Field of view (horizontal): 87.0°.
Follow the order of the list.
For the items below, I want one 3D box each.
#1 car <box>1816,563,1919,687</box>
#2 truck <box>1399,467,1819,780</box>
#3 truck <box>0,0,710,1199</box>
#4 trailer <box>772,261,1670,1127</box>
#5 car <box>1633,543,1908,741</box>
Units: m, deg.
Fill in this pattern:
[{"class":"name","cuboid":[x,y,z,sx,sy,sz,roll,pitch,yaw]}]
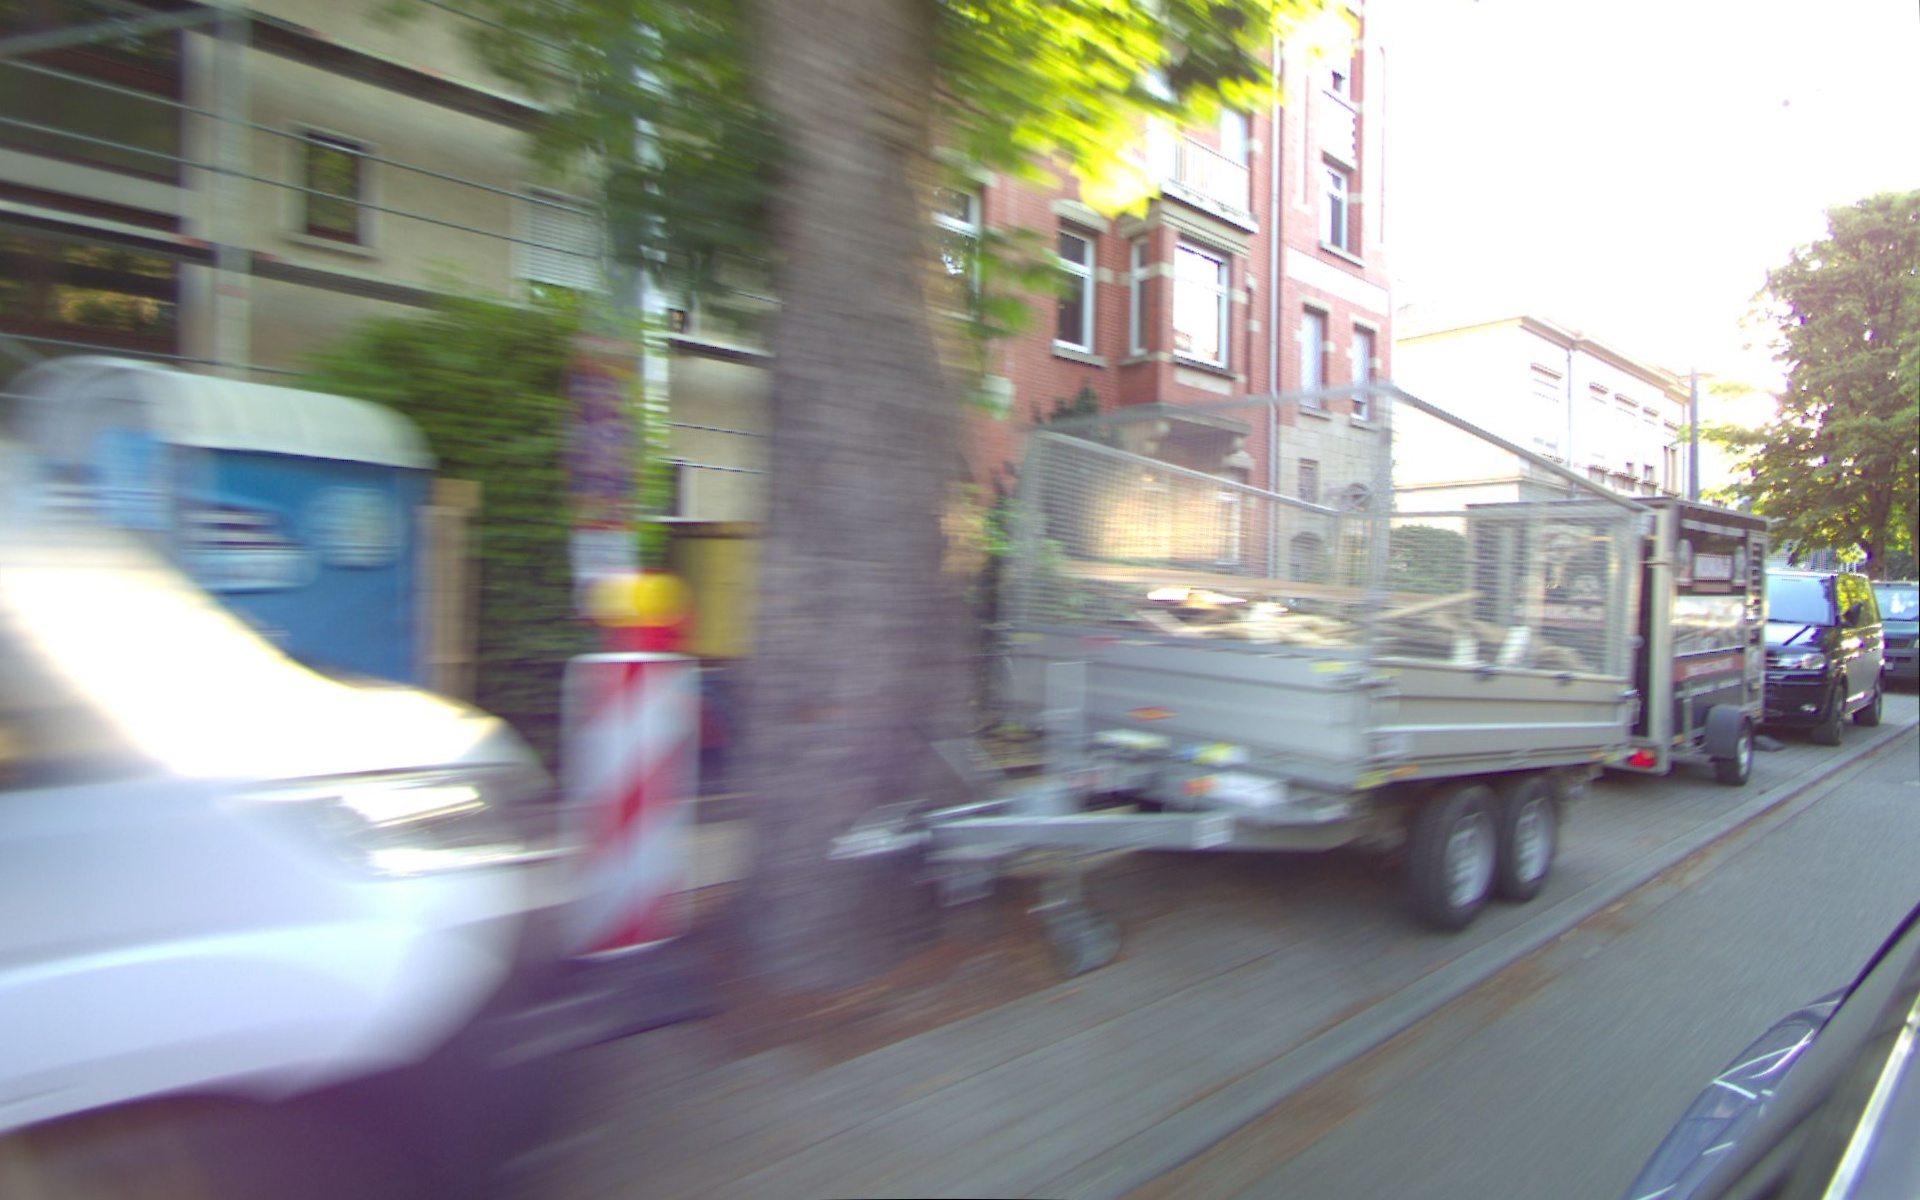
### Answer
[{"class":"car","cuboid":[18.008,0.456,19.267,4.748,2.084,1.957,1,2,-43]},{"class":"truck","cuboid":[6.269,0.159,9.552,4.561,2.274,1.959,1,2,-40]},{"class":"truck","cuboid":[-3.549,0.282,0.272,6.662,2.273,1.979,0,1,-43]},{"class":"trailer","cuboid":[1.605,0.226,4.962,4.563,2.324,1.958,1,2,-41]},{"class":"car","cuboid":[10.008,0.415,12.364,4.534,1.966,1.842,1,2,-42]}]
